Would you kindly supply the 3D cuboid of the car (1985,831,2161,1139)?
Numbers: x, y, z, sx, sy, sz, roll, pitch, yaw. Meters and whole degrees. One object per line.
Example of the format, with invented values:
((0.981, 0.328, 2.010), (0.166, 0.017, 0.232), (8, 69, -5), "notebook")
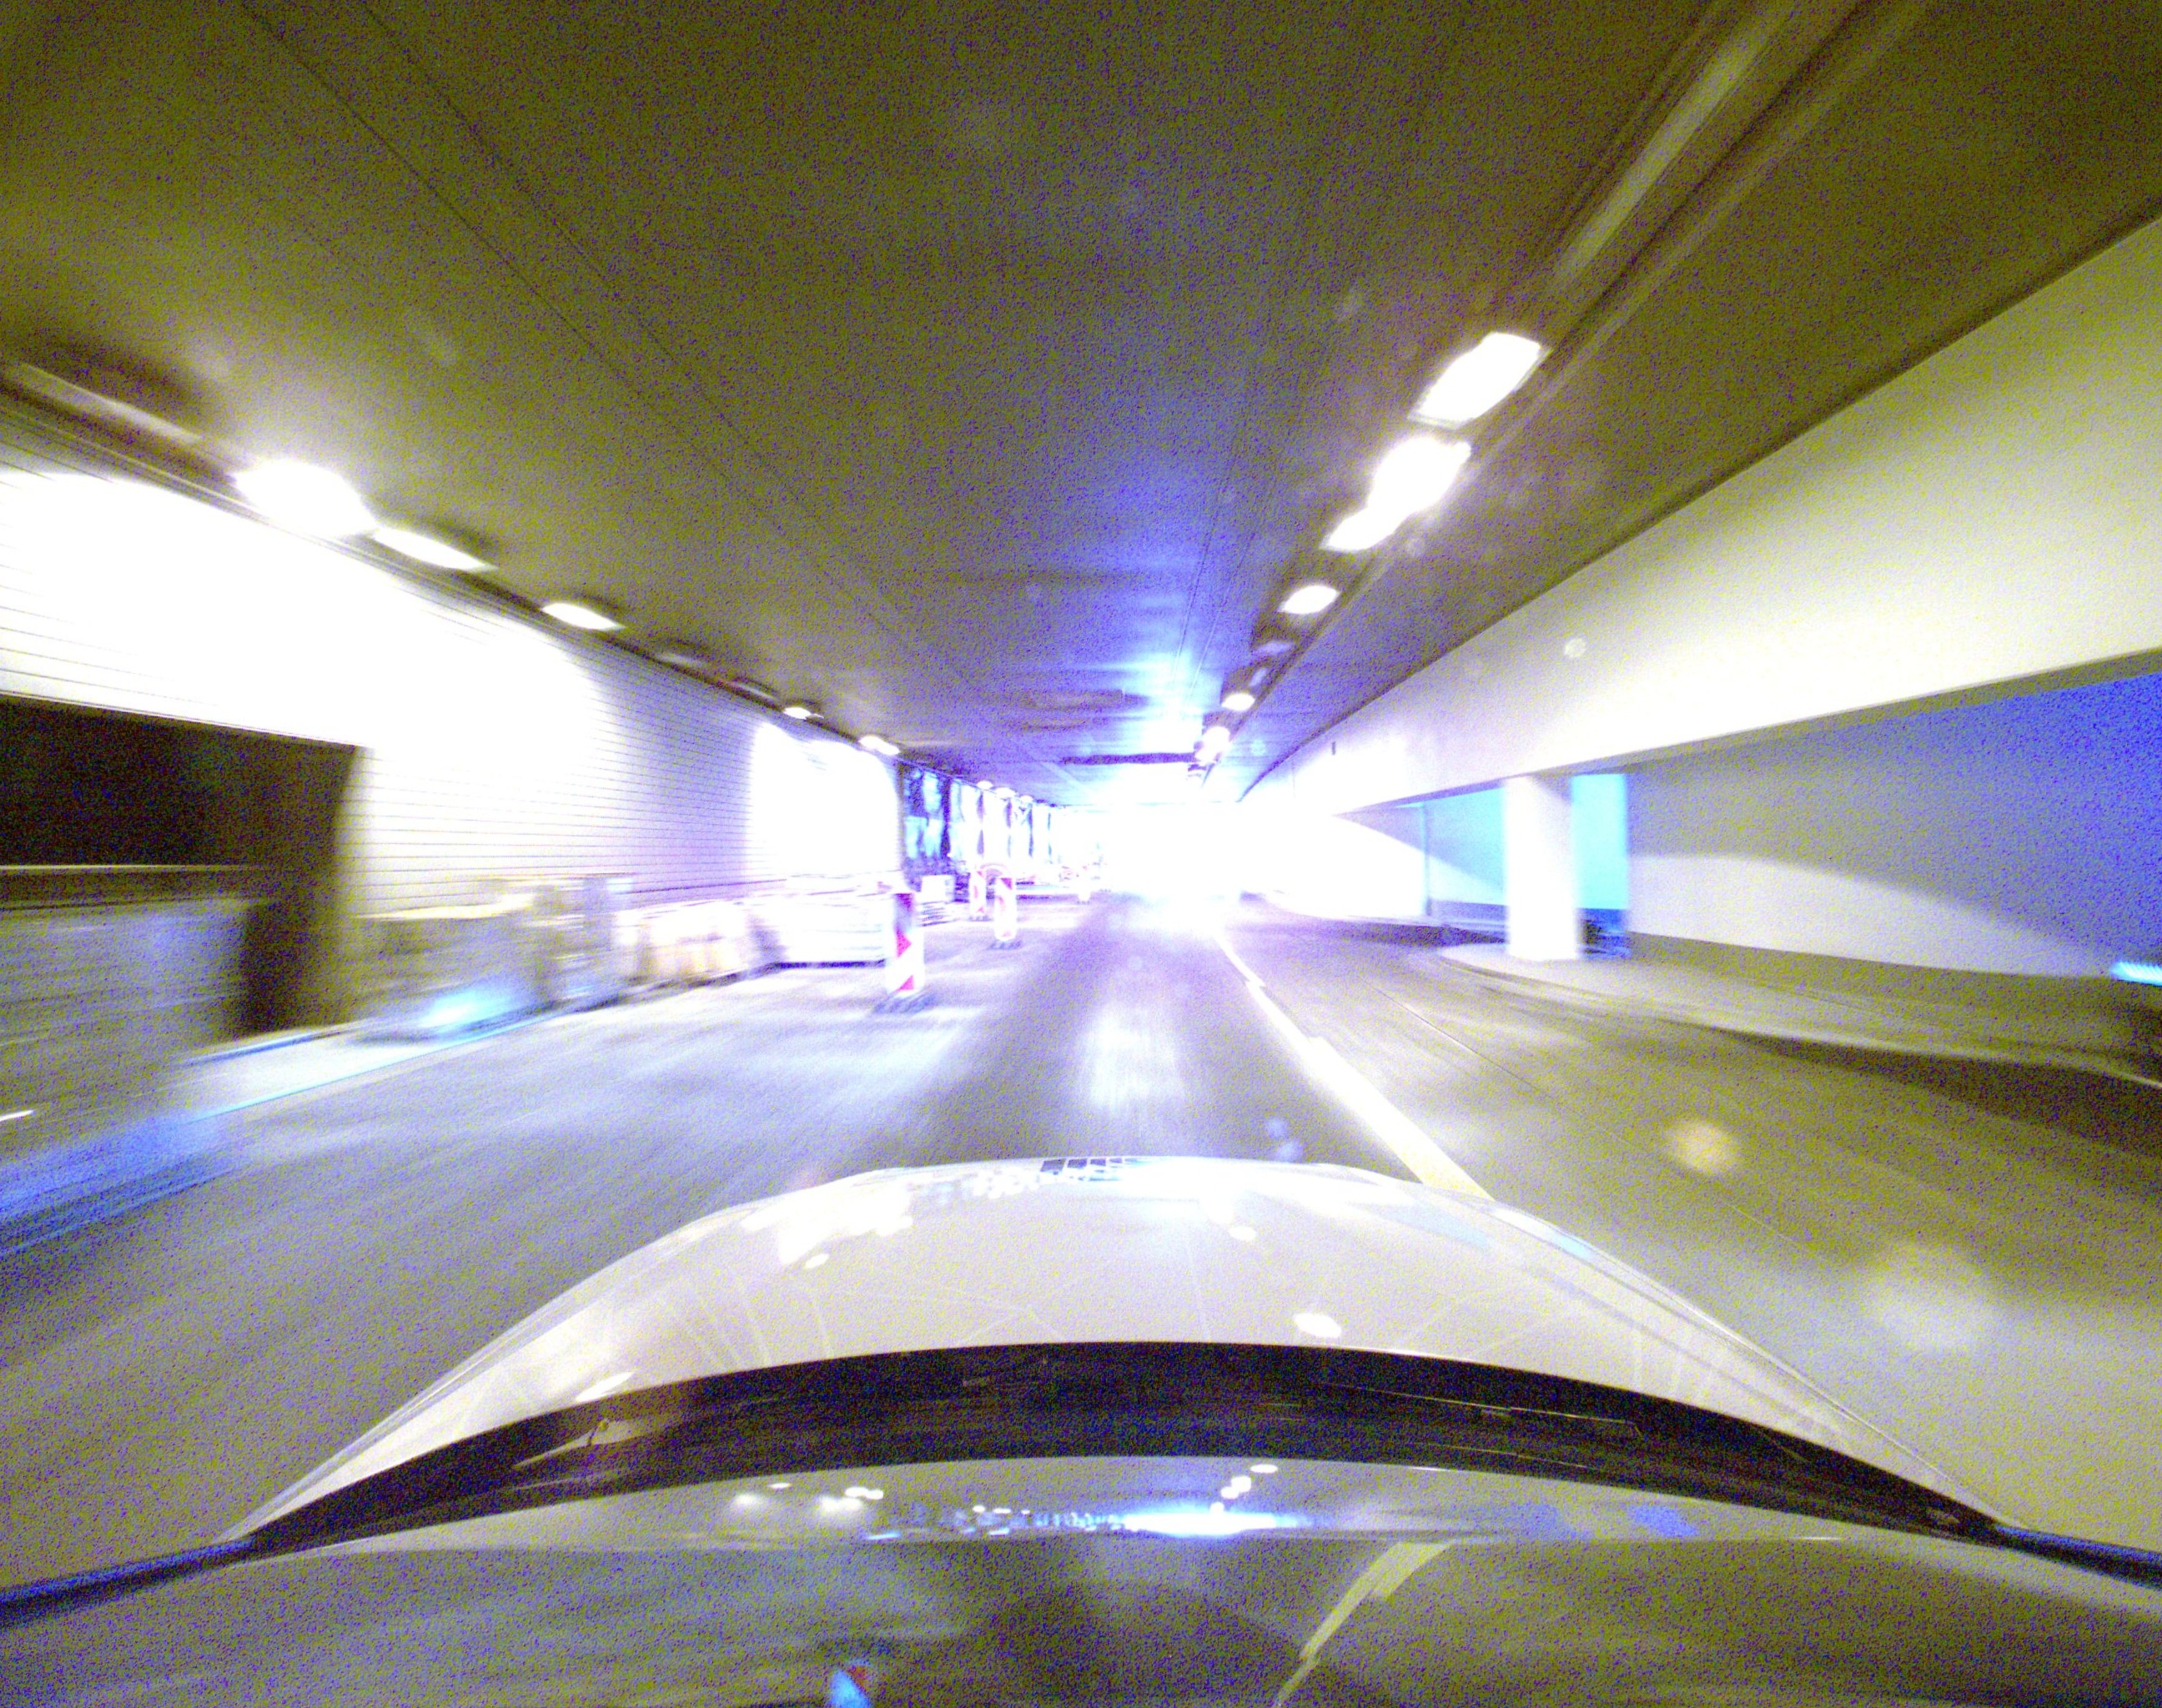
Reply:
((7.472, 0.611, 3.718), (4.201, 1.546, 1.903), (-1, -1, 9), "car")
